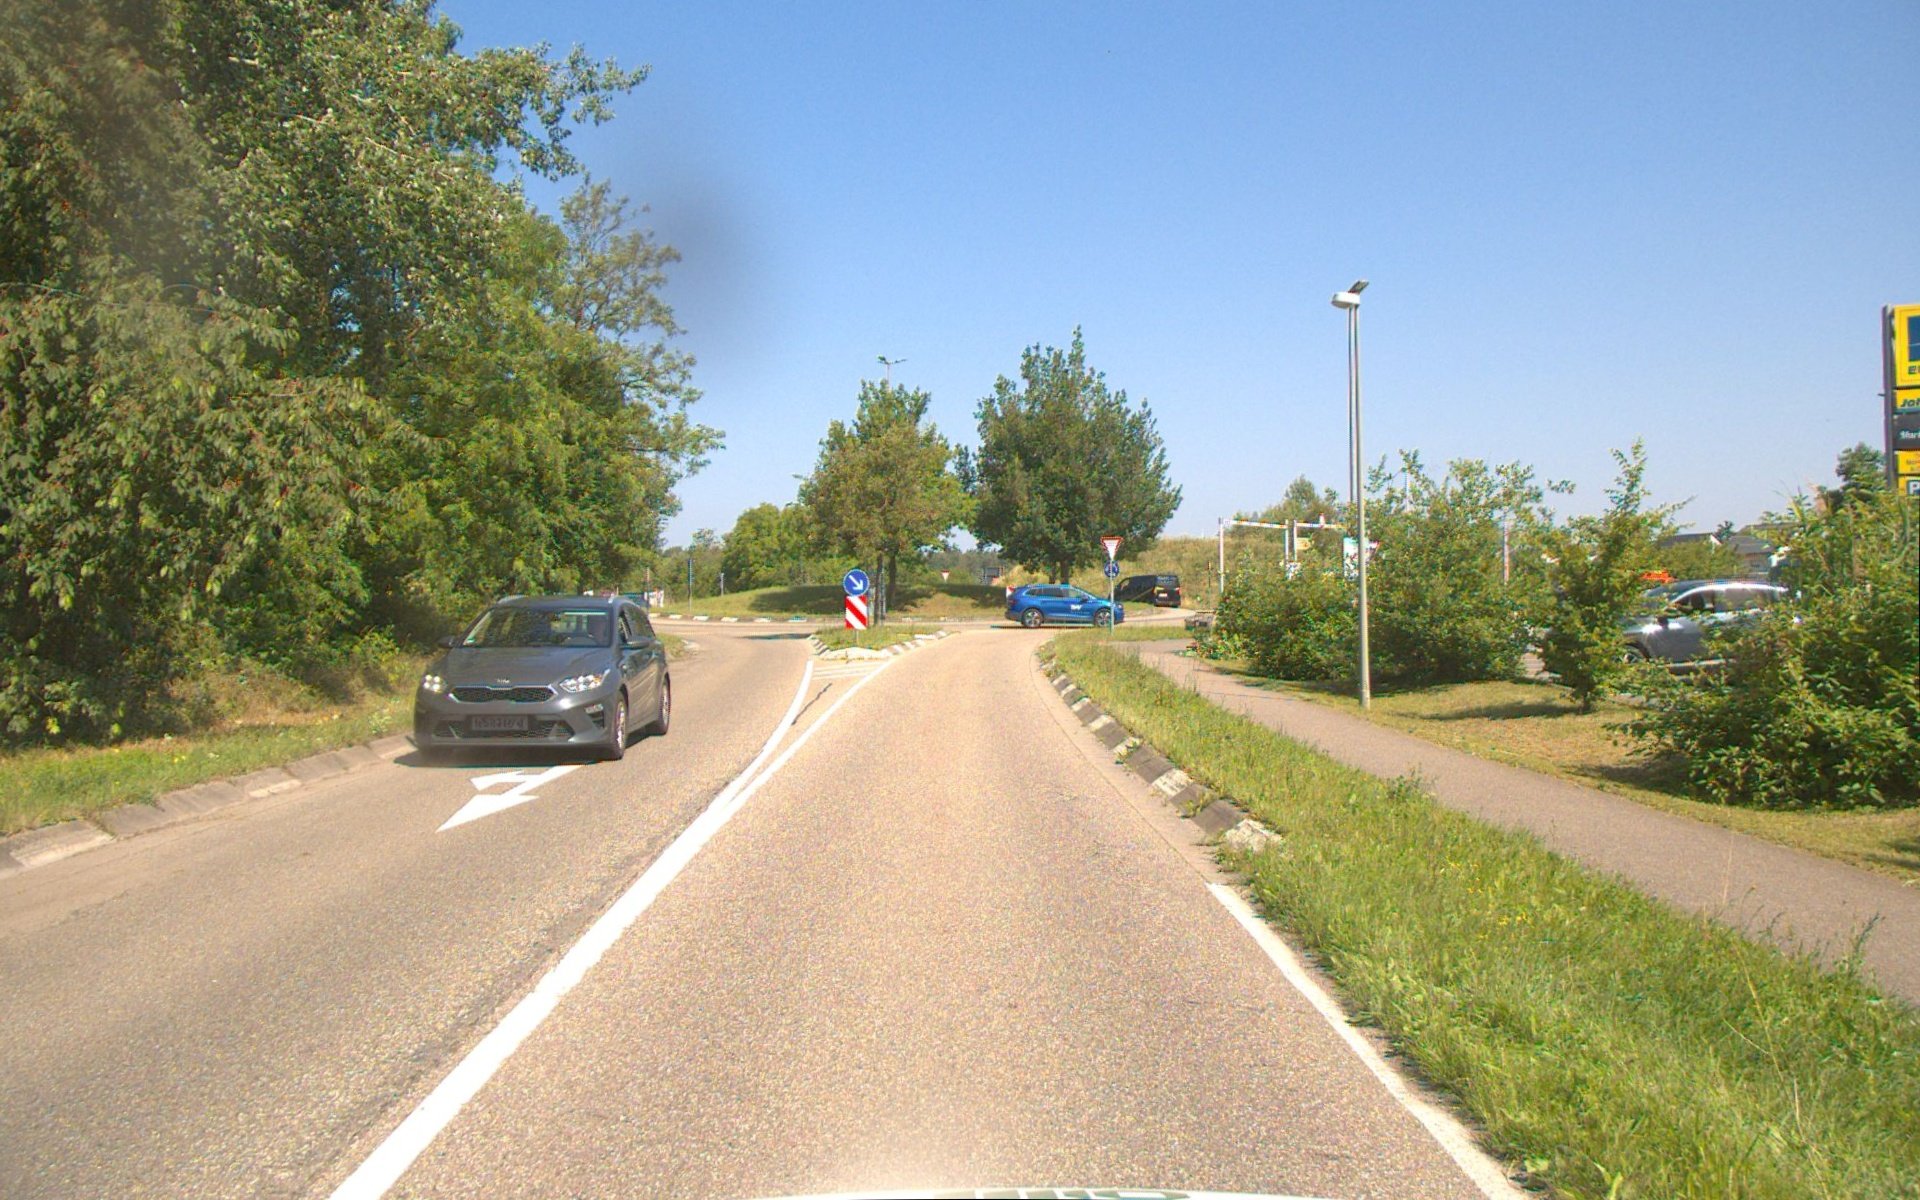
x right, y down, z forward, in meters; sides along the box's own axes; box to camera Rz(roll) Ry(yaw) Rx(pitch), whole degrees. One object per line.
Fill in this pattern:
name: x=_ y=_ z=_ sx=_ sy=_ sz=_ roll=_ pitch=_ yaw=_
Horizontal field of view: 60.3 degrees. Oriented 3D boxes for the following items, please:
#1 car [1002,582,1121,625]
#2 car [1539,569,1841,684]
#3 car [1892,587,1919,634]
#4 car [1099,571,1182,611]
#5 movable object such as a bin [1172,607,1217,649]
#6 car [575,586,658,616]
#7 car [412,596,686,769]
car: x=3.822 y=0.128 z=62.499 sx=4.325 sy=1.599 sz=1.715 roll=0 pitch=0 yaw=-3
car: x=11.580 y=0.404 z=26.427 sx=4.034 sy=1.656 sz=1.752 roll=-2 pitch=0 yaw=0
car: x=32.017 y=0.316 z=53.281 sx=3.430 sy=1.483 sz=1.706 roll=-1 pitch=1 yaw=-21
car: x=9.556 y=-0.469 z=87.584 sx=3.925 sy=2.049 sz=1.990 roll=-1 pitch=0 yaw=40
movable object such as a bin: x=6.575 y=0.781 z=46.324 sx=0.851 sy=1.140 sz=1.453 roll=0 pitch=0 yaw=27
car: x=-17.780 y=0.036 z=85.697 sx=1.797 sy=1.411 sz=4.419 roll=-1 pitch=1 yaw=28
car: x=-3.803 y=0.687 z=16.013 sx=1.664 sy=1.413 sz=4.293 roll=-1 pitch=0 yaw=-1
